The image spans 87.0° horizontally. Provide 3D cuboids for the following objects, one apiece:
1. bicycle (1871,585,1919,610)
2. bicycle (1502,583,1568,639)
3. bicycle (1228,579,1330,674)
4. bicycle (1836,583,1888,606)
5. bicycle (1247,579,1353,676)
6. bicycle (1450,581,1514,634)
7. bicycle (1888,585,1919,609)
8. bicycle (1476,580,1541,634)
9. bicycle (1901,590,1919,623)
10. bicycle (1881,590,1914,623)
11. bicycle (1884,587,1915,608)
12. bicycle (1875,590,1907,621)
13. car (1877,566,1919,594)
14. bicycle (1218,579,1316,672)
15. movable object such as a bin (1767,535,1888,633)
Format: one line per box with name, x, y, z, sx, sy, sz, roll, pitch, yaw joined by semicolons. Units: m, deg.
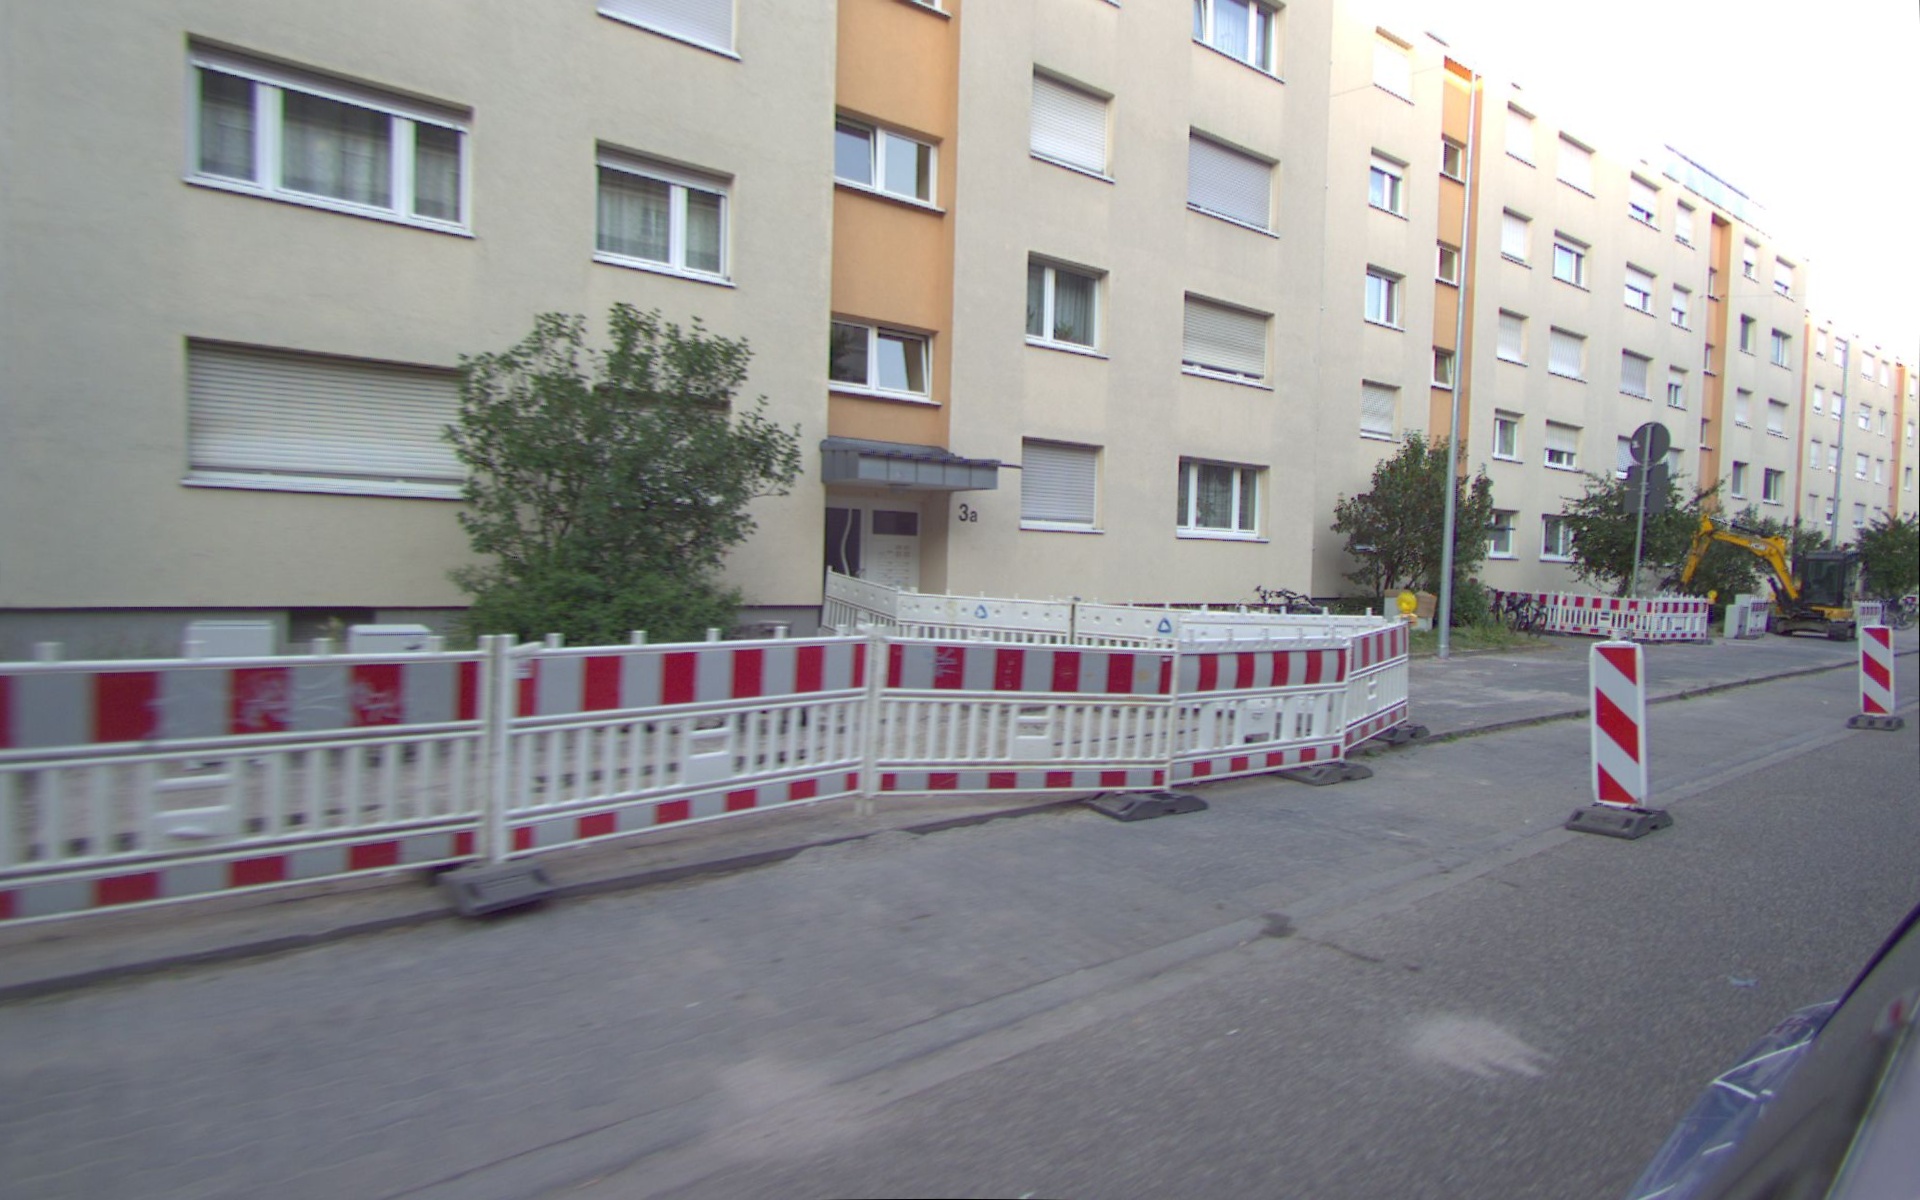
bicycle;44.798;-0.126;48.313;0.546;0.998;1.763;0;7;-29
bicycle;12.666;0.225;22.282;1.783;1.186;0.558;0;2;-36
bicycle;4.437;0.340;14.001;1.878;1.237;0.398;0;2;-41
bicycle;44.612;-0.271;50.076;1.789;0.931;0.556;5;6;11
bicycle;4.675;0.346;13.839;1.878;1.237;0.452;0;2;-41
bicycle;12.196;0.158;23.610;1.783;1.186;0.558;0;2;-36
bicycle;46.351;-0.097;49.089;0.547;1.034;1.818;-1;8;-37
bicycle;12.526;0.155;23.103;1.783;1.186;0.558;0;2;-36
bicycle;36.418;0.247;38.473;0.553;1.186;1.796;2;2;31
bicycle;35.716;0.241;38.574;0.624;1.186;1.794;2;2;35
bicycle;46.863;-0.149;50.492;0.552;0.874;1.603;6;7;23
bicycle;36.978;0.209;40.198;1.783;1.186;0.558;0;2;-36
car;76.806;-1.552;80.605;2.244;2.156;5.044;0;2;-30
bicycle;4.335;0.333;14.242;1.794;1.237;0.398;0;2;-41
movable object such as a bin;25.543;-0.489;29.787;2.836;2.726;1.941;0;2;-34
